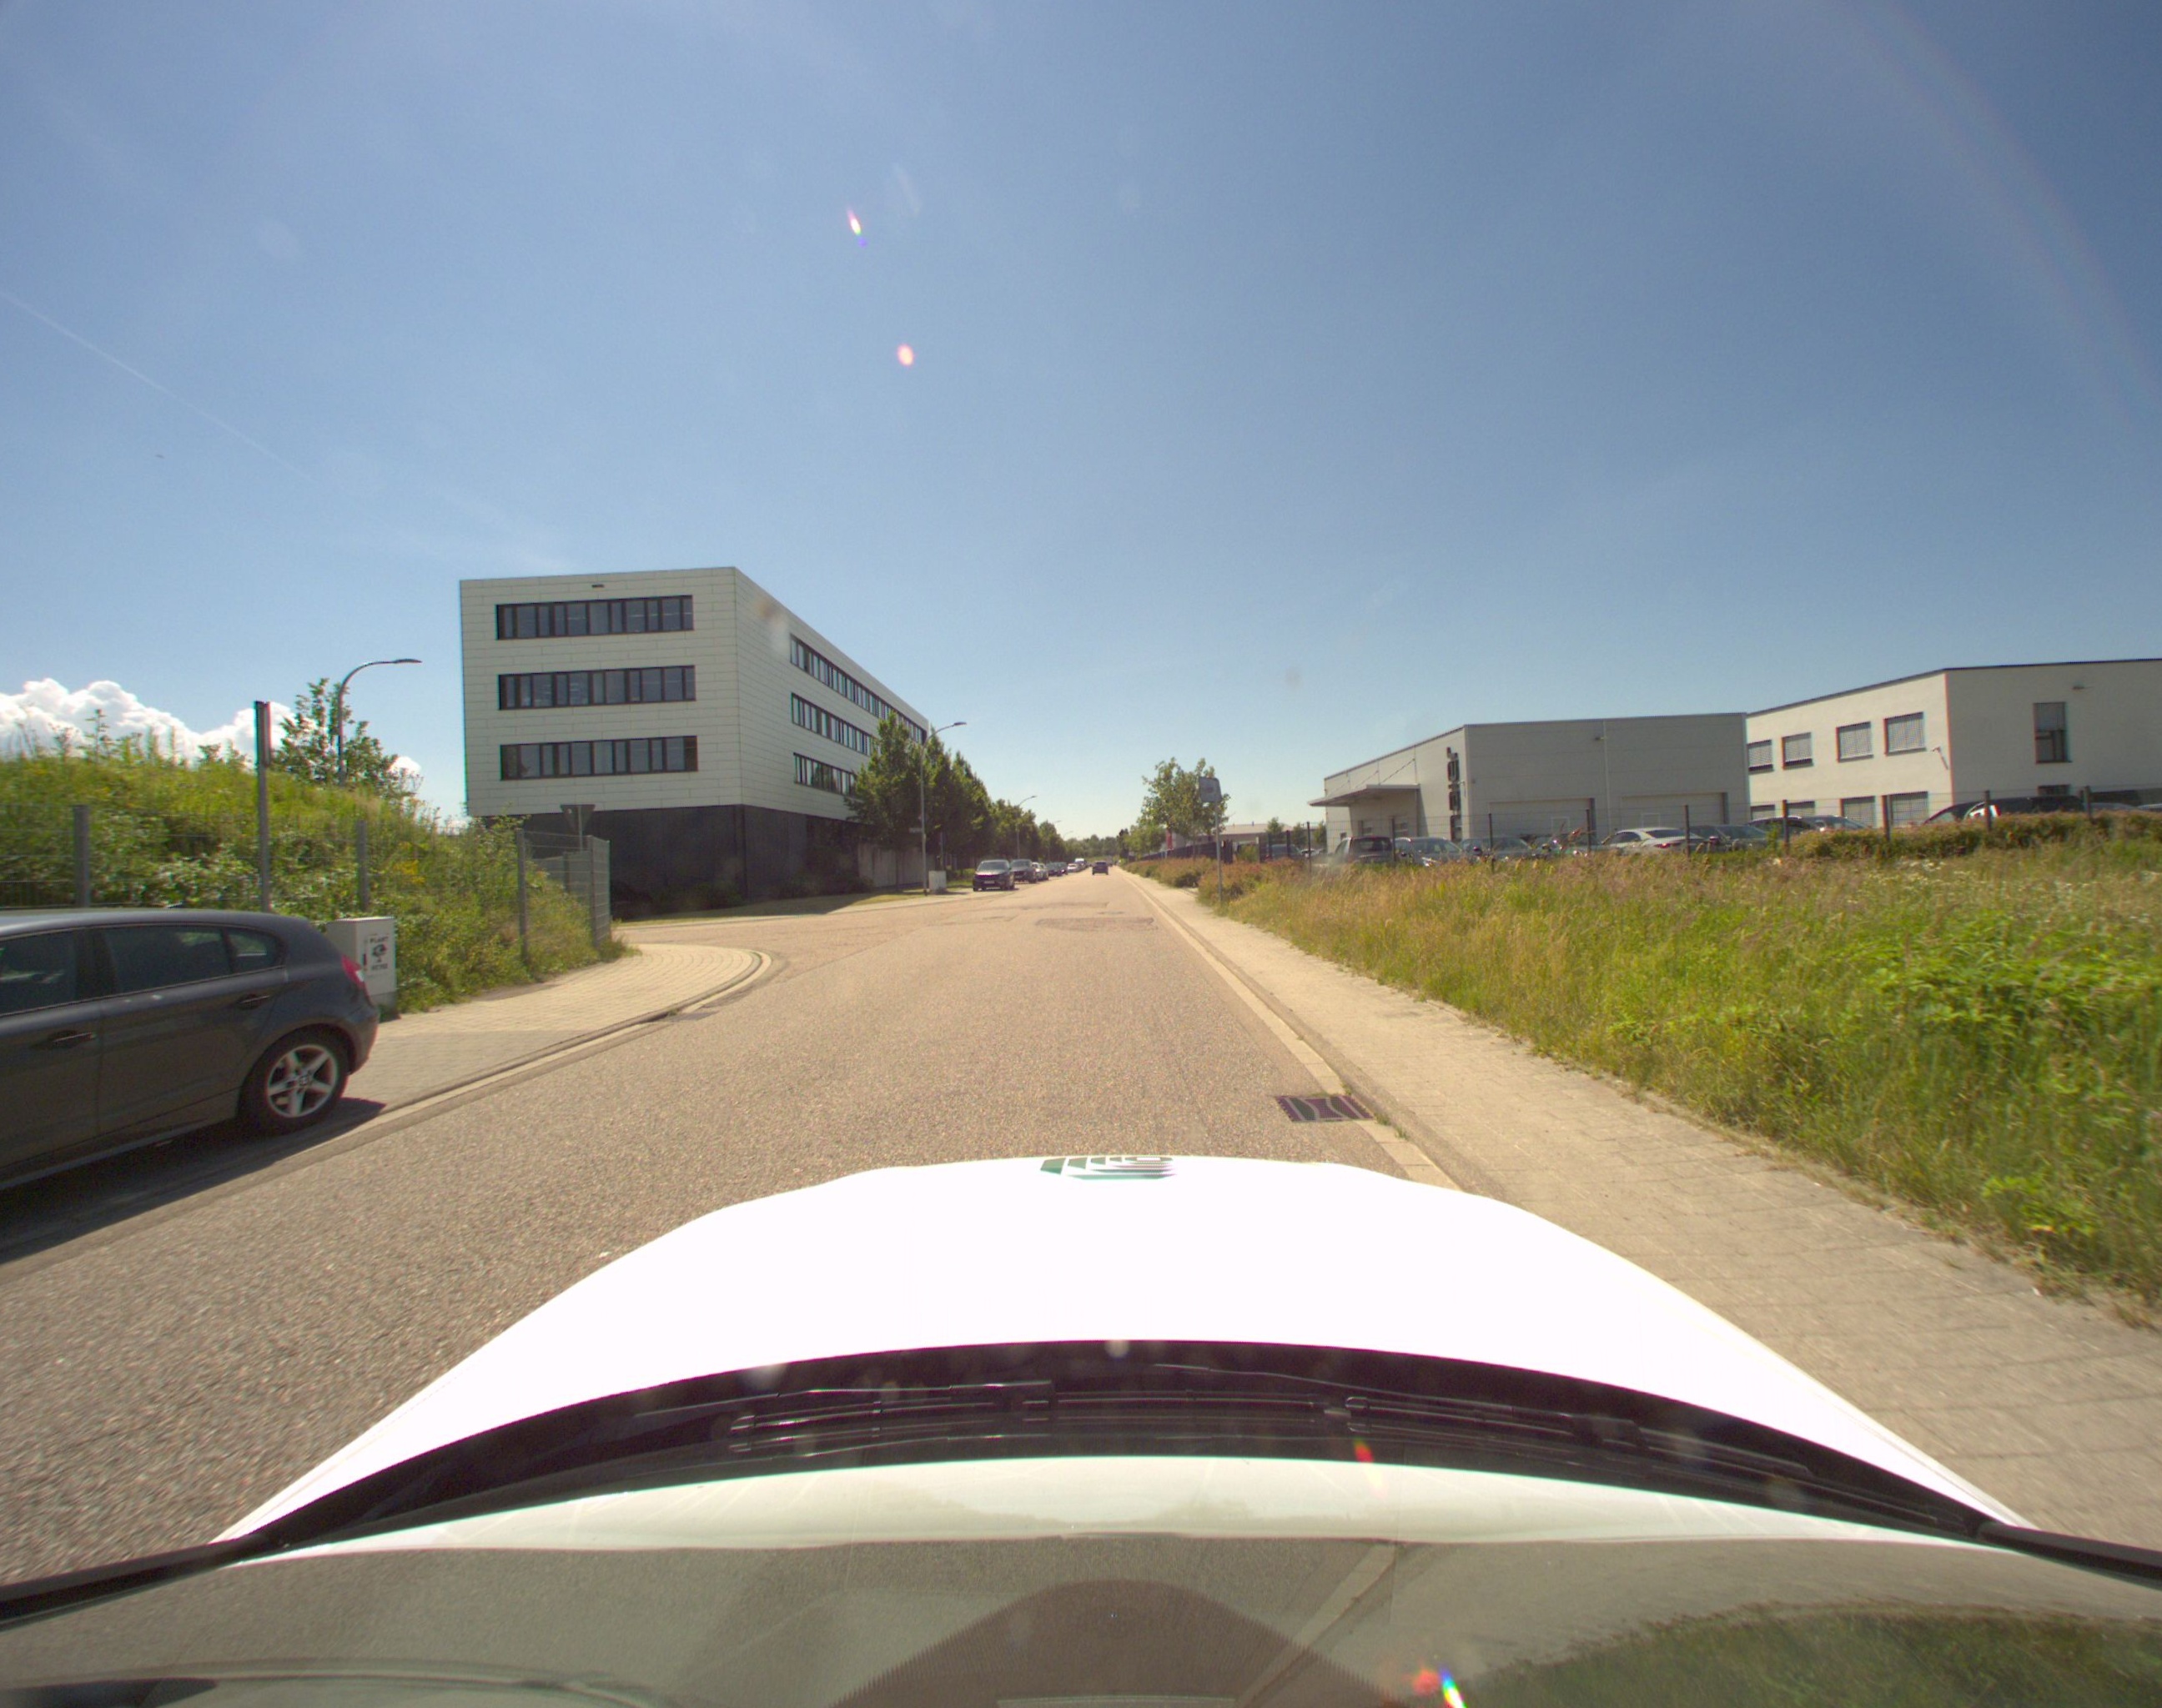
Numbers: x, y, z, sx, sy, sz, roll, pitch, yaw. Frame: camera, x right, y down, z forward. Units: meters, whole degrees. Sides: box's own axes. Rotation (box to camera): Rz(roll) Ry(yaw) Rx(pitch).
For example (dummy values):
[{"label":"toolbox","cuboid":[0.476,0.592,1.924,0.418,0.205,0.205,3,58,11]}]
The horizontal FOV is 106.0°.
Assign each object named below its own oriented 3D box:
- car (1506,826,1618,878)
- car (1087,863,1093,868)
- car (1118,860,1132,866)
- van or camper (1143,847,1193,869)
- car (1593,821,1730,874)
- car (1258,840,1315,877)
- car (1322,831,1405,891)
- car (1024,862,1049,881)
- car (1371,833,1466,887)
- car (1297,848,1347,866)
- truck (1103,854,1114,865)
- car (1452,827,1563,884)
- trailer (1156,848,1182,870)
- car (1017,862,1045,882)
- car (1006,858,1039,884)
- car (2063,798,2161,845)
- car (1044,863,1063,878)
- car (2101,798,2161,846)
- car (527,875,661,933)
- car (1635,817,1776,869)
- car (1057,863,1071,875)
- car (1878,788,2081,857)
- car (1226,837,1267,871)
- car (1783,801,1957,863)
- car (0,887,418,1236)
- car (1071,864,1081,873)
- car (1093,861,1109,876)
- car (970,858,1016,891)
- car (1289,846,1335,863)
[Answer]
[{"label":"car","cuboid":[14.721,-0.029,25.108,1.452,1.412,3.332,-3,-1,1]},{"label":"car","cuboid":[2.812,3.665,259.953,1.791,1.487,4.256,-2,0,3]},{"label":"car","cuboid":[12.381,2.465,228.655,3.864,1.750,1.751,0,-1,-1]},{"label":"van or camper","cuboid":[12.113,0.583,113.744,6.734,2.585,2.636,-3,-1,0]},{"label":"car","cuboid":[17.031,-0.151,24.100,1.509,1.397,3.540,-3,-1,1]},{"label":"car","cuboid":[9.679,0.193,38.551,1.803,1.552,3.578,-4,0,2]},{"label":"car","cuboid":[8.132,0.205,23.633,1.461,1.574,2.662,-3,-1,2]},{"label":"car","cuboid":[-3.703,1.472,68.481,1.764,1.431,3.942,-1,0,2]},{"label":"car","cuboid":[10.276,0.200,25.020,1.509,1.496,3.332,-2,-1,1]},{"label":"car","cuboid":[21.964,0.258,74.396,3.973,1.403,1.819,-3,-1,0]},{"label":"truck","cuboid":[7.278,1.494,213.488,2.921,2.974,6.422,0,-1,2]},{"label":"car","cuboid":[12.573,0.064,24.224,1.509,1.496,3.332,-3,-1,1]},{"label":"trailer","cuboid":[10.549,0.636,97.383,2.816,2.403,1.418,-4,-1,-3]},{"label":"car","cuboid":[-3.903,1.401,63.733,1.764,1.431,4.203,-1,0,2]},{"label":"car","cuboid":[-3.967,1.141,56.135,1.764,1.623,4.584,-1,0,2]},{"label":"car","cuboid":[33.144,-1.043,25.021,1.521,1.349,3.648,-3,-1,1]},{"label":"car","cuboid":[-3.013,1.812,90.645,1.764,1.431,4.203,-1,0,2]},{"label":"car","cuboid":[35.653,-1.092,26.009,1.521,1.526,3.648,-3,-1,1]},{"label":"car","cuboid":[-18.309,1.809,30.933,1.797,1.592,4.909,-3,3,4]},{"label":"car","cuboid":[19.676,-0.296,25.871,1.509,1.430,3.784,-3,-1,1]},{"label":"car","cuboid":[-2.254,1.994,109.078,1.765,1.611,4.247,-2,-1,1]},{"label":"car","cuboid":[27.898,-0.914,25.522,1.742,1.847,4.126,-3,-1,1]},{"label":"car","cuboid":[11.052,0.029,54.554,1.870,2.087,4.227,-4,-1,2]},{"label":"car","cuboid":[23.592,-0.582,24.563,1.509,1.634,3.784,-3,-1,1]},{"label":"car","cuboid":[-5.655,0.994,3.805,1.668,1.450,4.070,-1,0,2]},{"label":"car","cuboid":[-0.894,2.471,141.186,1.715,1.476,3.856,-2,-1,-1]},{"label":"car","cuboid":[2.261,1.615,92.710,1.783,1.623,3.810,0,-1,2]},{"label":"car","cuboid":[-4.575,1.076,43.037,1.764,1.588,4.482,-2,-1,2]},{"label":"car","cuboid":[21.887,0.062,77.156,3.856,1.403,1.768,-3,-1,4]}]
